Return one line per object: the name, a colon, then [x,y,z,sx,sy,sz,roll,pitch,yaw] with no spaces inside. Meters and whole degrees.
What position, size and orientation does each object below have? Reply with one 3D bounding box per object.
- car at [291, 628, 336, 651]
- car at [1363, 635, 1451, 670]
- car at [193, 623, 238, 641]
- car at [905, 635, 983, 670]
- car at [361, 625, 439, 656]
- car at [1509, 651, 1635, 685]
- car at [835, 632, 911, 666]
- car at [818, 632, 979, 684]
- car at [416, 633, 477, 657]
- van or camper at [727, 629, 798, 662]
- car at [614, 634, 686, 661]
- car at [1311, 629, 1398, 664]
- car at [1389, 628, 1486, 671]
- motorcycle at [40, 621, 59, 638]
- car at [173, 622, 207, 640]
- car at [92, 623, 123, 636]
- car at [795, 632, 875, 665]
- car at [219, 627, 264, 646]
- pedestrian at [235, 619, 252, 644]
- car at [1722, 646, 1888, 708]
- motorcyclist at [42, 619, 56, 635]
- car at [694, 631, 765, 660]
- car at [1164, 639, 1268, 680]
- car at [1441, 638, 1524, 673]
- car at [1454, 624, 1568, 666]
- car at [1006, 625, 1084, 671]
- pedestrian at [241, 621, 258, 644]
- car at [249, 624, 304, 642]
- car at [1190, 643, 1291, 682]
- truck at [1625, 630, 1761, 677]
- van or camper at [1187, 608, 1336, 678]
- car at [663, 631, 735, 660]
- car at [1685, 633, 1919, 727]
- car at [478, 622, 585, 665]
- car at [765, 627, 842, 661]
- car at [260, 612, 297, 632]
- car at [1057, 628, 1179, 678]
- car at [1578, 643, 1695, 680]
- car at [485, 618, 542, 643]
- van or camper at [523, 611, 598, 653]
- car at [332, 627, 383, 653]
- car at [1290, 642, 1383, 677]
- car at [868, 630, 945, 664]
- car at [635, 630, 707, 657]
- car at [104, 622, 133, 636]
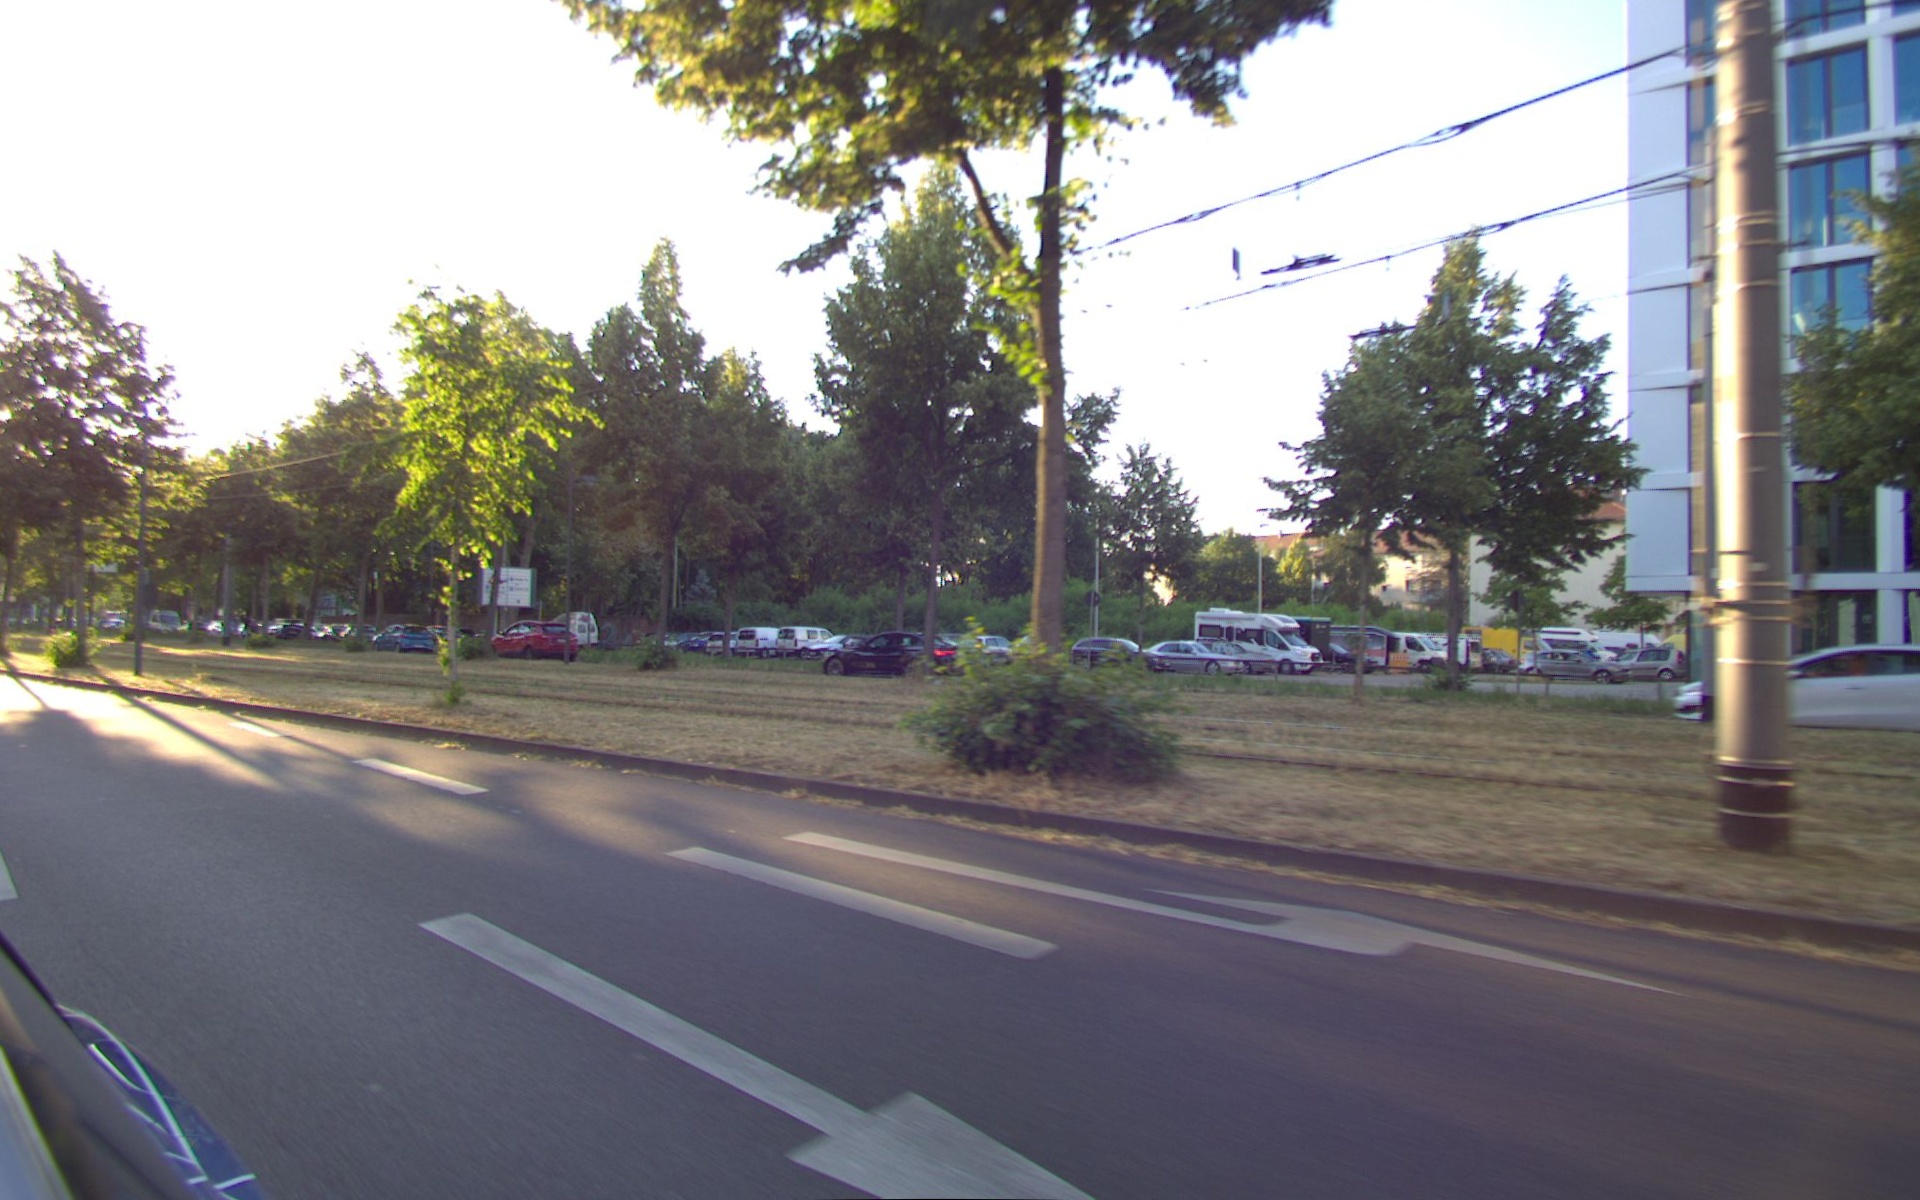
car: [-51.554,3.138,80.687,4.159,1.763,1.972,-1,-3,42]
car: [24.298,2.825,55.066,3.997,1.825,1.896,-1,-3,40]
car: [-65.195,2.802,88.632,4.550,1.510,1.975,-1,-3,37]
car: [-0.730,2.528,49.369,1.916,1.652,3.955,-1,-2,33]
car: [-28.788,2.081,52.003,4.279,1.519,1.900,-1,-2,37]
car: [25.971,2.868,43.052,1.717,1.270,4.258,2,-3,-40]
car: [-4.444,2.525,52.390,1.916,1.652,3.955,-1,-2,33]
car: [-1.775,1.590,28.458,4.463,1.342,1.642,-1,-3,35]
car: [-33.805,2.946,66.610,3.992,1.497,1.976,-1,-2,36]
van or camper: [-11.272,2.582,57.969,1.989,1.805,3.964,-1,-2,26]
car: [-19.713,2.999,64.473,1.920,1.652,3.948,-1,-3,38]
car: [21.231,2.482,54.581,3.997,1.825,1.896,-1,-3,40]
car: [26.845,2.741,56.999,2.075,2.325,4.511,2,-3,-42]
motorcycle: [-75.622,2.459,84.018,2.340,1.347,0.676,-1,-3,36]
car: [-73.261,2.989,96.271,4.001,1.652,1.971,-2,-3,44]
car: [-102.009,3.526,121.143,4.293,1.512,1.974,-1,-3,38]
car: [-6.645,2.576,54.190,1.922,1.652,3.943,-1,-3,43]
car: [-60.476,3.070,85.203,4.300,1.511,1.882,-1,-3,37]
pedestrian: [-54.900,2.433,77.535,0.862,1.884,0.688,0,-2,29]
car: [23.771,2.128,28.656,3.487,1.594,1.842,-1,-2,38]
motorcyclist: [-75.685,2.248,84.068,0.803,1.386,0.675,-1,-3,36]
car: [-13.660,2.711,60.163,1.916,1.652,3.955,-1,-2,33]
car: [11.096,2.535,43.983,3.997,1.652,1.896,-1,-3,40]
car: [31.505,3.304,61.046,1.969,2.029,4.004,2,-3,-42]
car: [35.271,2.852,64.967,1.968,2.616,6.102,2,-3,-40]
car: [4.001,2.197,47.070,1.994,2.029,3.955,-1,-3,33]
pedestrian: [-55.105,2.510,78.482,0.862,1.772,0.688,0,-2,29]
car: [-52.643,2.510,77.907,5.134,1.325,1.975,-1,-3,38]
car: [12.640,2.780,45.724,3.997,1.652,1.896,-1,-3,40]
truck: [39.212,2.807,54.260,1.969,2.400,5.578,2,-3,-42]
van or camper: [14.235,1.983,48.096,6.258,3.109,2.682,-1,-2,40]
car: [-15.695,2.725,61.011,1.916,1.652,3.955,-1,-2,33]
car: [14.037,1.210,15.659,4.519,1.342,1.642,-1,-3,35]
car: [-16.652,1.651,39.259,4.173,1.590,1.869,-1,-3,35]
car: [-8.679,2.444,56.451,2.009,1.858,3.950,-1,-3,37]
car: [-72.296,2.357,107.335,5.054,2.029,1.973,-1,-3,40]
car: [6.872,2.279,44.174,4.922,2.029,1.976,-1,-3,36]
car: [31.865,2.853,47.772,1.741,1.601,4.283,2,-3,-42]
car: [-32.029,2.165,72.538,3.992,1.763,1.976,-1,-3,36]
van or camper: [-27.670,2.200,70.026,5.482,2.756,2.066,-1,-3,35]
car: [-43.268,2.866,72.640,4.159,1.763,1.972,-1,-3,42]
car: [18.908,2.970,50.913,3.997,1.652,1.896,-1,-3,40]
car: [-2.635,2.348,50.923,1.916,1.652,3.955,-1,-2,33]
car: [-17.982,2.697,63.074,1.919,1.652,3.949,-1,-3,38]
car: [-97.515,3.396,117.284,4.048,1.543,1.792,-1,-3,38]
